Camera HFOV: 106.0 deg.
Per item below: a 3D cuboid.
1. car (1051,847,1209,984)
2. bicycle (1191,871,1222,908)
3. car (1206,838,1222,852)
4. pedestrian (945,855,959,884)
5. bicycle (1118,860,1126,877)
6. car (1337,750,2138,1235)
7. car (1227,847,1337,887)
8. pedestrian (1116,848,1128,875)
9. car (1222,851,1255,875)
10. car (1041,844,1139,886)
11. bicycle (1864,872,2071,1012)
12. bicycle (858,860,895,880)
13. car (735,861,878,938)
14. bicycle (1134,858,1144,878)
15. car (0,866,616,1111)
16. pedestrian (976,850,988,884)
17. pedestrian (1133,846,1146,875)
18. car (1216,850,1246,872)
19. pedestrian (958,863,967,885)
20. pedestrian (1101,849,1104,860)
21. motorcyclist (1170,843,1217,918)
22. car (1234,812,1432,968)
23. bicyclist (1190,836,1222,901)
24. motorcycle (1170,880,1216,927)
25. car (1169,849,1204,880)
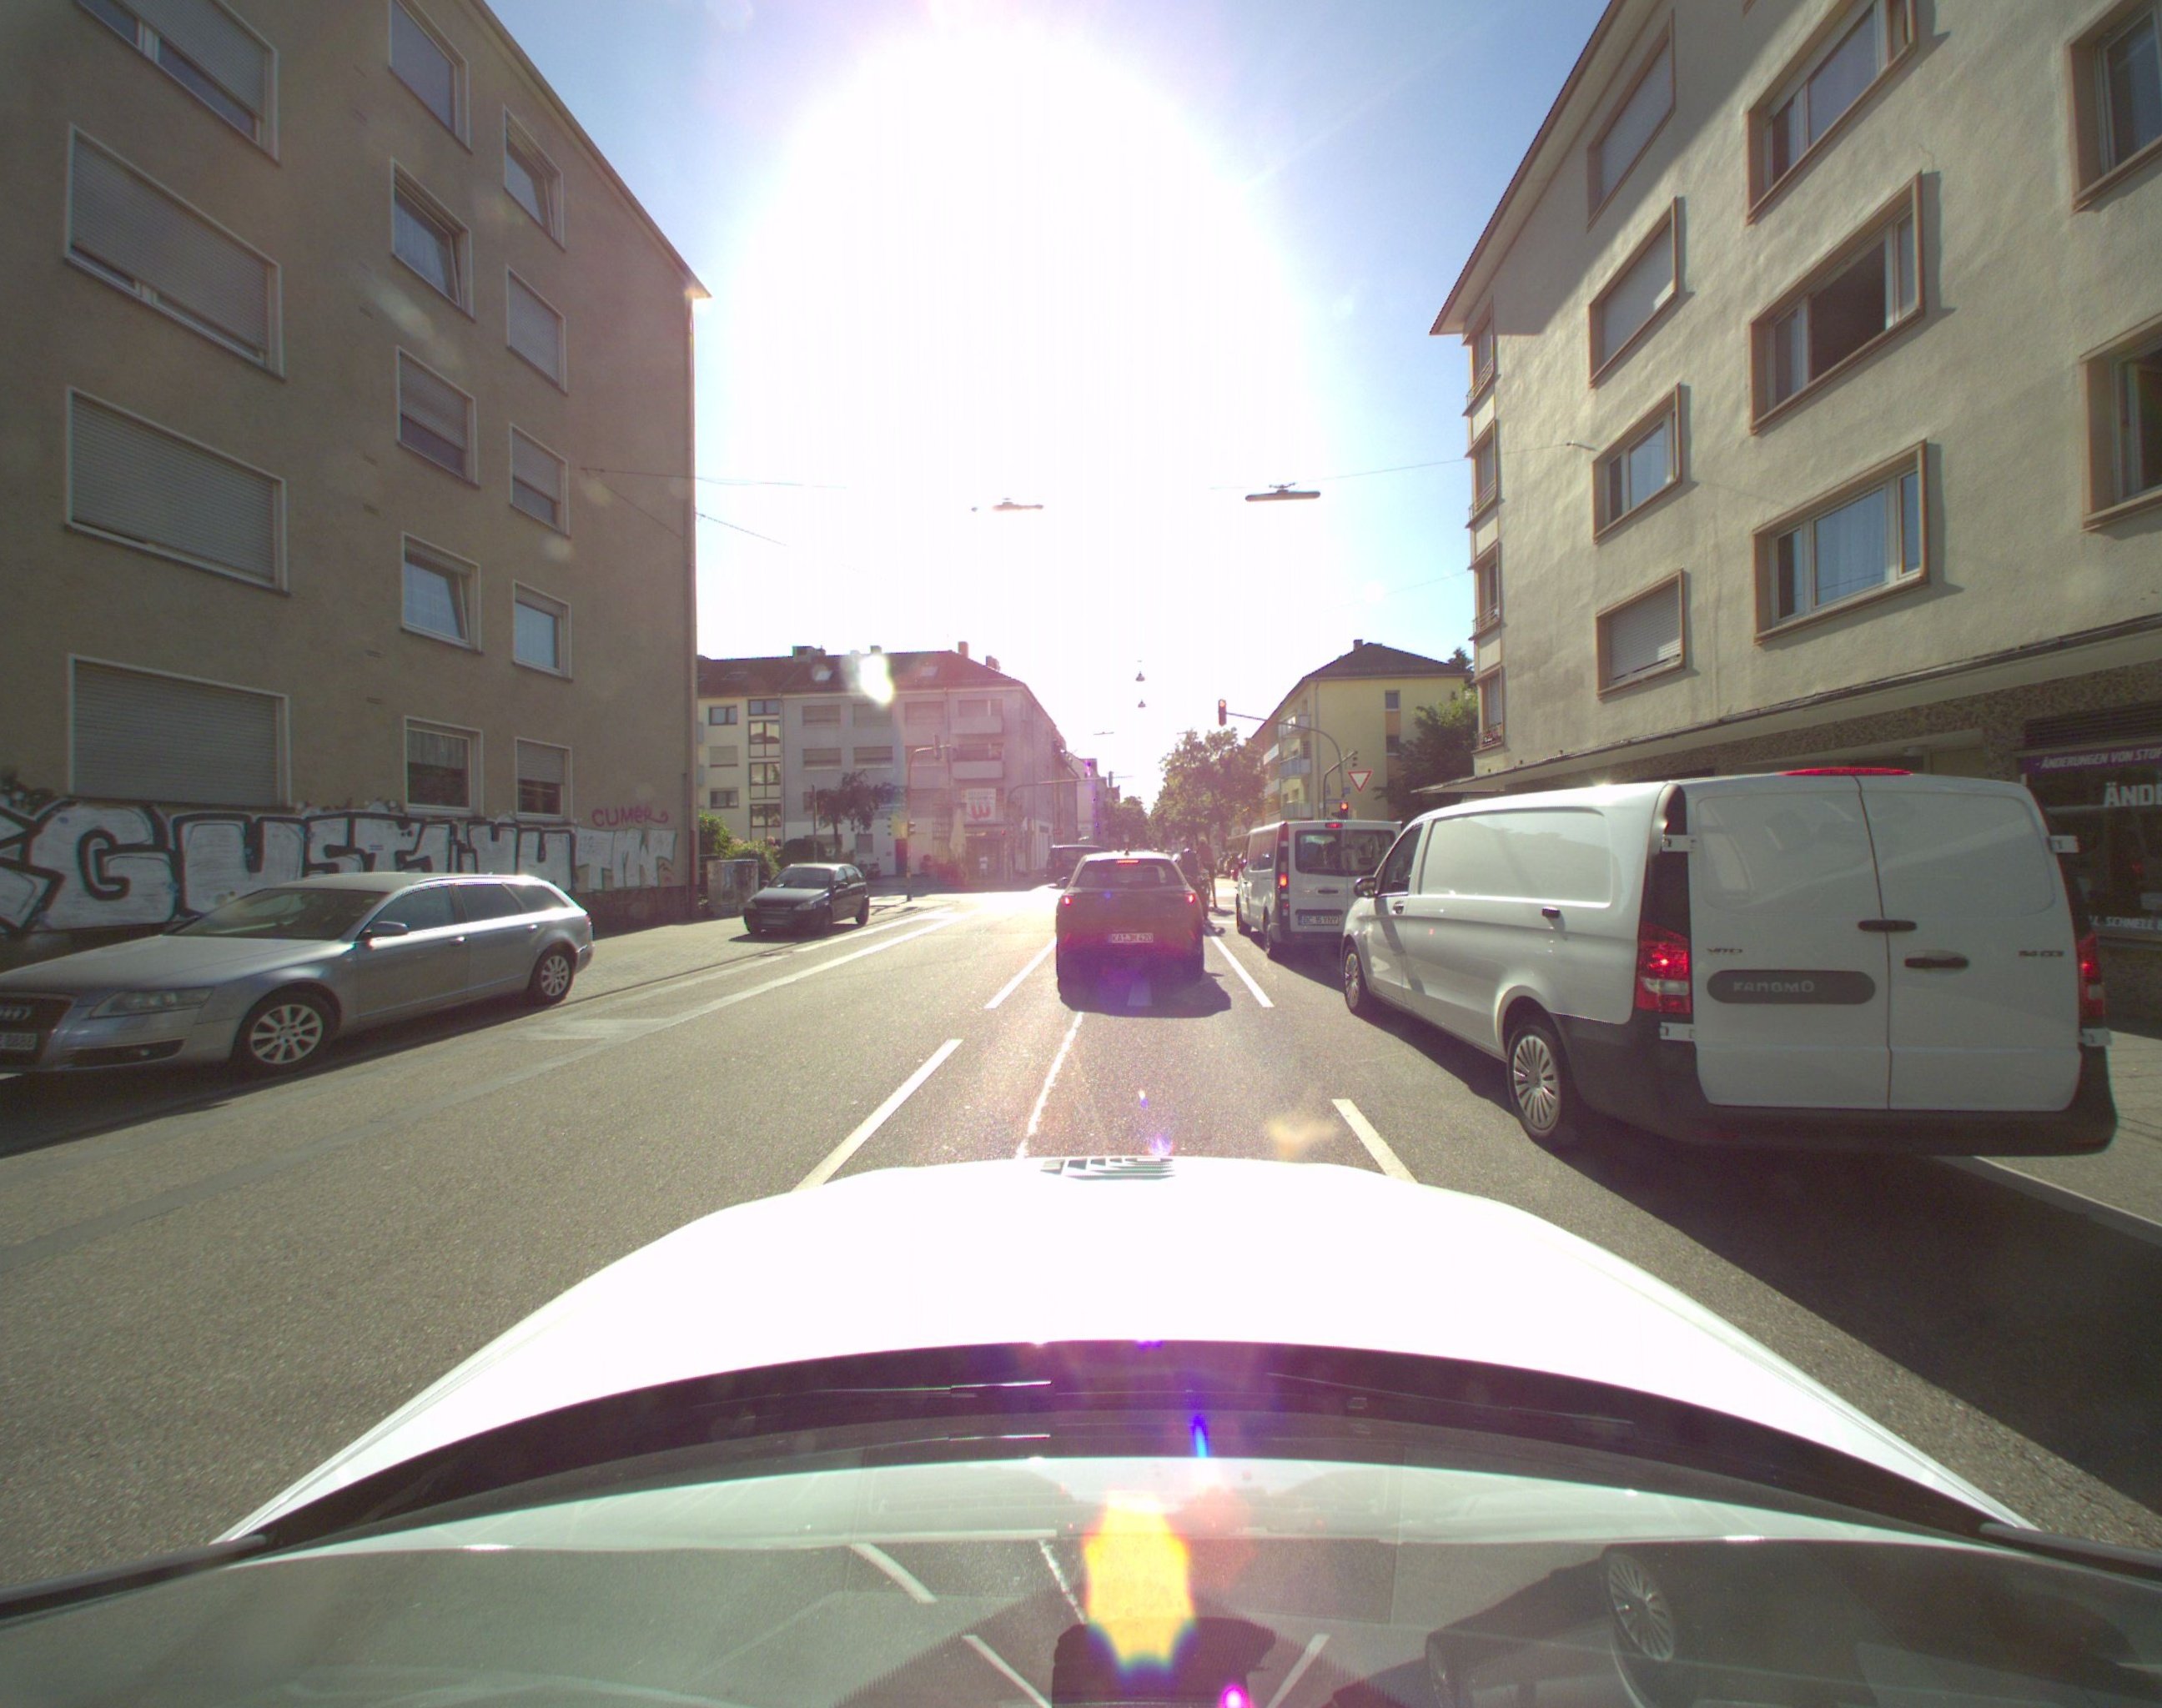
[{"bbox_3d":[0.652,0.688,11.237,1.763,1.530,4.003,-1,0,3],"label":"car"},{"bbox_3d":[3.414,0.944,22.312,0.574,0.904,2.303,-1,0,3],"label":"bicycle"},{"bbox_3d":[19.352,-1.274,118.641,1.846,2.013,3.885,-1,0,4],"label":"car"},{"bbox_3d":[-6.781,0.826,42.894,0.582,1.521,0.650,-1,0,1],"label":"pedestrian"},{"bbox_3d":[2.459,0.869,48.605,0.441,0.992,2.070,-1,0,3],"label":"bicycle"},{"bbox_3d":[3.330,0.519,5.683,1.828,1.869,5.001,0,0,4],"label":"car"},{"bbox_3d":[7.884,0.507,32.196,3.969,1.464,1.833,-1,0,4],"label":"car"},{"bbox_3d":[2.468,0.457,48.506,0.677,1.606,0.763,-1,0,2],"label":"pedestrian"},{"bbox_3d":[9.964,0.567,51.728,1.627,1.433,3.961,-1,0,5],"label":"car"},{"bbox_3d":[0.396,0.466,36.913,4.071,1.728,1.897,-1,0,-18],"label":"car"},{"bbox_3d":[8.319,0.764,7.744,0.398,1.136,1.733,-1,0,13],"label":"bicycle"},{"bbox_3d":[-12.270,0.954,48.858,2.101,1.172,0.736,-1,0,-19],"label":"bicycle"},{"bbox_3d":[-5.859,0.909,17.850,1.609,1.425,3.714,1,0,4],"label":"car"},{"bbox_3d":[3.462,0.832,48.460,0.519,1.147,2.171,-1,0,3],"label":"bicycle"},{"bbox_3d":[-6.748,0.907,7.635,1.709,1.465,4.820,-1,0,4],"label":"car"},{"bbox_3d":[-5.263,0.698,43.445,0.560,1.775,0.583,-1,0,-4],"label":"pedestrian"},{"bbox_3d":[3.493,0.366,48.402,0.704,1.701,0.803,-1,0,2],"label":"pedestrian"},{"bbox_3d":[10.329,0.439,56.309,1.627,1.433,4.005,-1,0,4],"label":"car"},{"bbox_3d":[-6.254,1.052,42.942,0.354,1.092,0.462,-1,0,1],"label":"pedestrian"},{"bbox_3d":[3.183,0.117,120.400,0.400,1.675,0.418,-1,0,4],"label":"pedestrian"},{"bbox_3d":[2.324,0.530,16.938,0.860,1.502,1.161,-1,0,3],"label":"motorcyclist"},{"bbox_3d":[3.704,0.461,12.972,1.984,1.979,4.902,-1,0,5],"label":"car"},{"bbox_3d":[3.403,0.376,22.215,0.686,1.712,1.415,-1,0,3],"label":"bicyclist"},{"bbox_3d":[2.307,1.006,16.984,0.821,0.845,1.887,-1,0,4],"label":"motorcycle"},{"bbox_3d":[6.178,0.607,48.094,1.893,1.728,4.006,-1,0,5],"label":"car"}]
